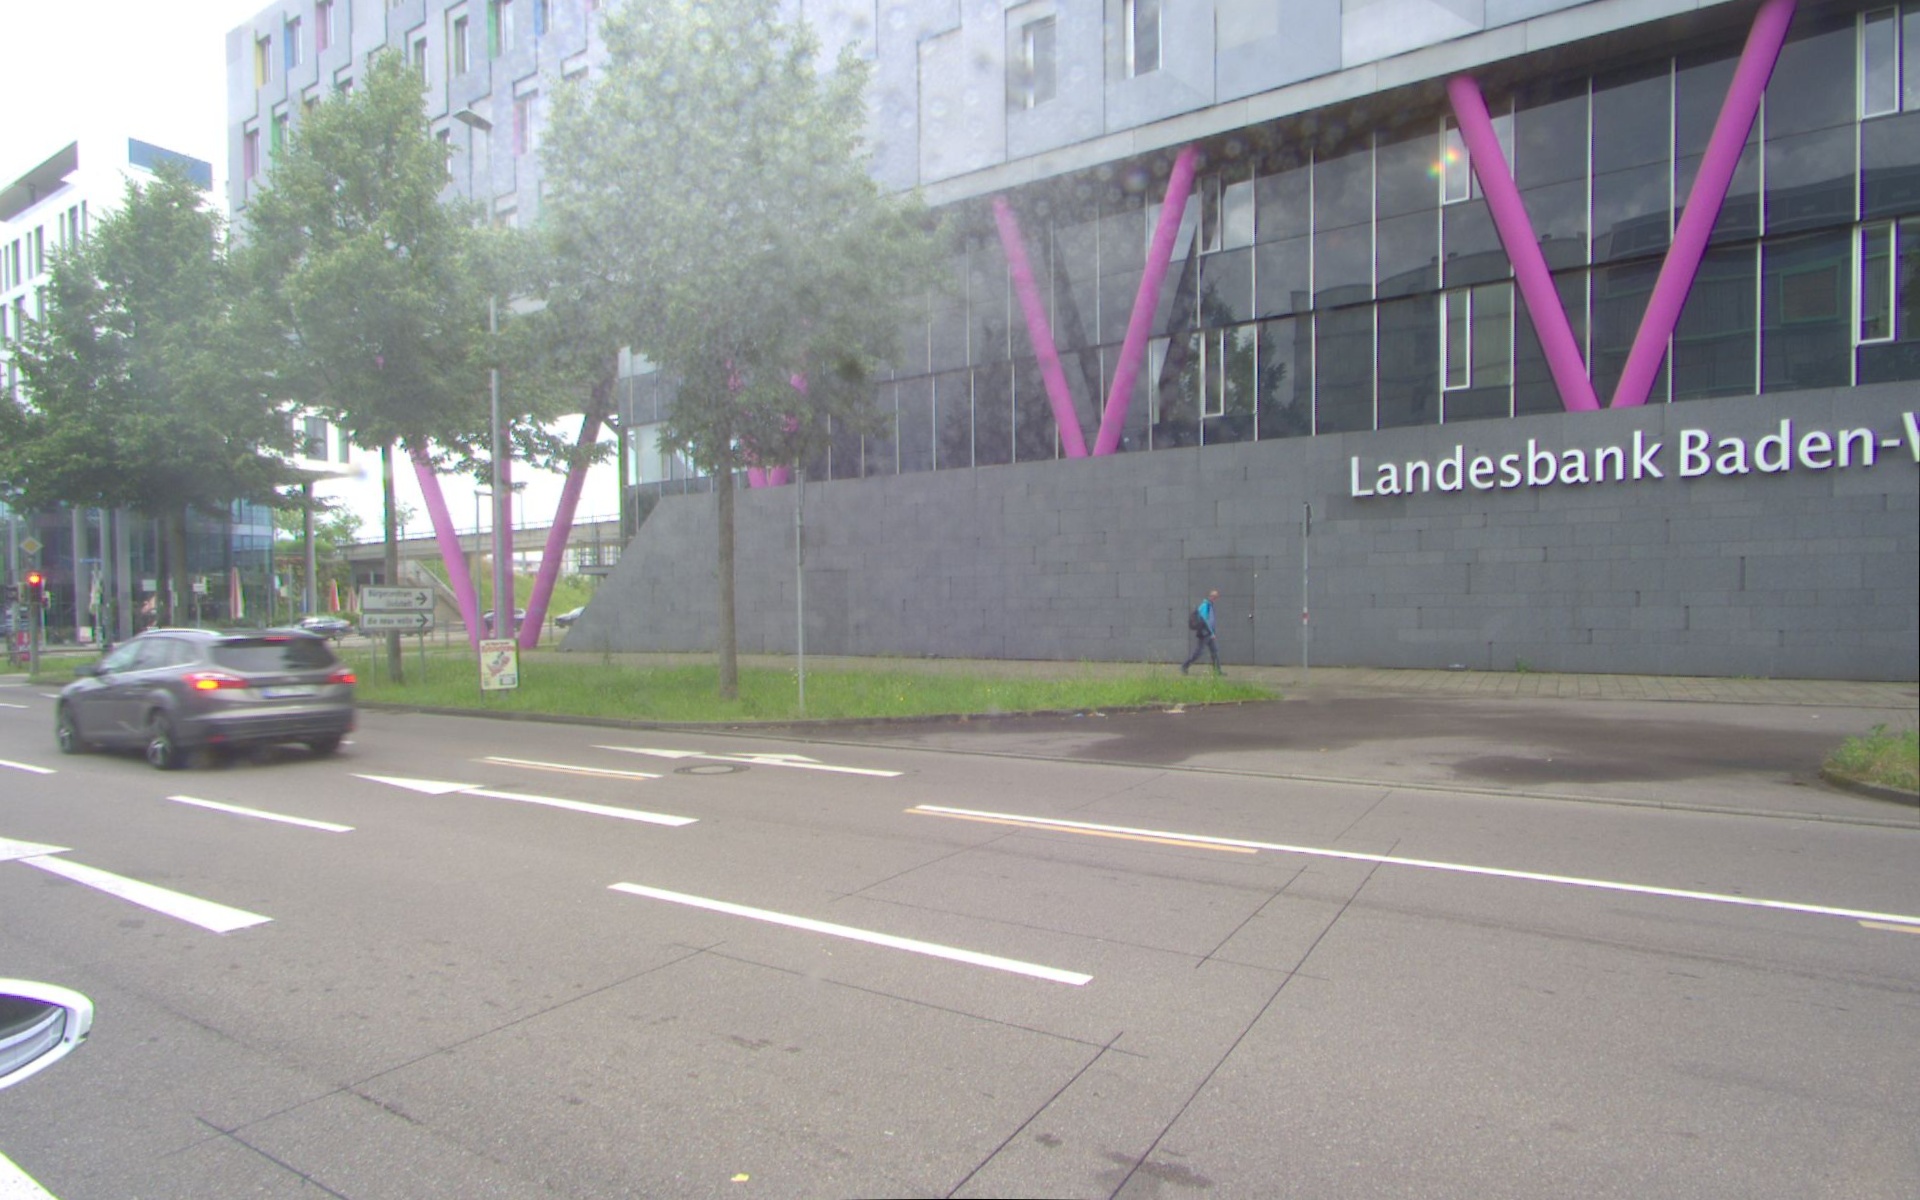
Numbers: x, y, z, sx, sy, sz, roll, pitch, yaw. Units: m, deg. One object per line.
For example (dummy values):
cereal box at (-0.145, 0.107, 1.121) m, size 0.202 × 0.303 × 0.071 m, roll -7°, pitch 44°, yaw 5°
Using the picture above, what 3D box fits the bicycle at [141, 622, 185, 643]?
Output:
bicycle at (-44.021, 1.797, 55.343) m, size 0.609 × 1.100 × 1.787 m, roll 0°, pitch 0°, yaw 34°

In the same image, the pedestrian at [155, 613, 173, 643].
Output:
pedestrian at (-43.999, 1.530, 55.377) m, size 0.610 × 1.625 × 0.613 m, roll 0°, pitch 1°, yaw 34°

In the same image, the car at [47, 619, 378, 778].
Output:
car at (-8.911, 1.019, 11.860) m, size 4.206 × 1.519 × 1.745 m, roll 0°, pitch 0°, yaw 32°

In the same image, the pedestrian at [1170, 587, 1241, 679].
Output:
pedestrian at (4.956, 0.648, 20.229) m, size 1.121 × 1.794 × 1.049 m, roll 0°, pitch 1°, yaw 33°

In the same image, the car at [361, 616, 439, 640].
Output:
car at (-36.249, 1.791, 64.931) m, size 1.734 × 1.474 × 4.070 m, roll 0°, pitch 0°, yaw 34°

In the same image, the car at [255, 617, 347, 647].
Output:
car at (-39.182, 1.862, 59.658) m, size 1.734 × 1.636 × 4.240 m, roll 0°, pitch 0°, yaw 34°
